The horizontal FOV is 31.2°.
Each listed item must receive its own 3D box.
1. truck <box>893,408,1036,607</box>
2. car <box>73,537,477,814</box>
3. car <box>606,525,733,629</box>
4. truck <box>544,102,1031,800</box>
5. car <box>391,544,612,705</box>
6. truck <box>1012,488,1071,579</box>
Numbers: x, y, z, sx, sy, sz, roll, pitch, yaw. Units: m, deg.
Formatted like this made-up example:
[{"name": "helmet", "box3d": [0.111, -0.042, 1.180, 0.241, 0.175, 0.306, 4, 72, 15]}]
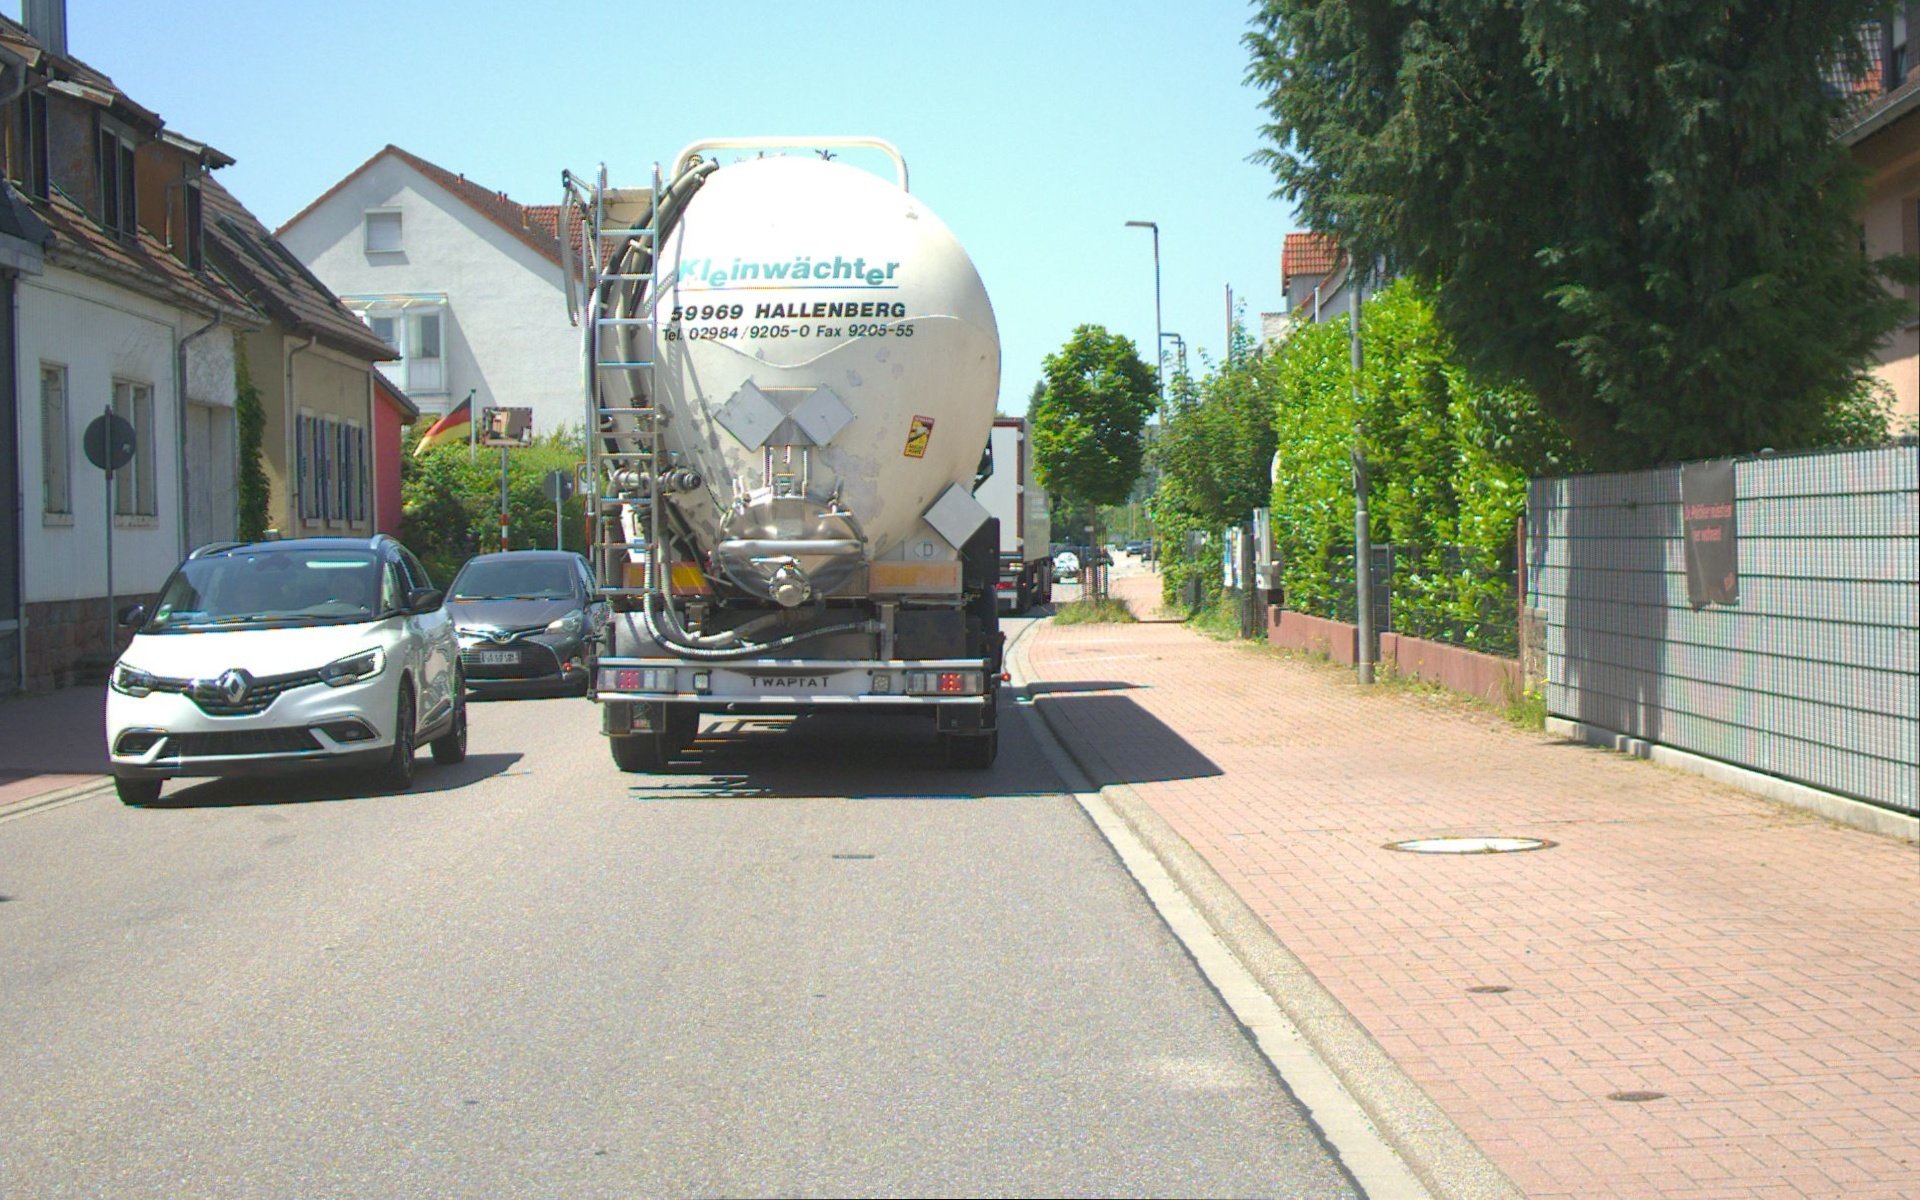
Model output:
[{"name": "truck", "box3d": [0.170, -1.887, 72.663, 2.733, 3.946, 8.141, 1, 1, 2]}, {"name": "car", "box3d": [-4.420, 0.420, 22.823, 1.851, 1.566, 4.255, -3, 1, -2]}, {"name": "car", "box3d": [-4.601, -0.378, 54.861, 1.742, 1.501, 4.059, -3, 1, -2]}, {"name": "truck", "box3d": [-1.106, -0.885, 23.666, 2.732, 3.946, 8.142, 1, 1, -2]}, {"name": "car", "box3d": [-4.786, 0.214, 36.422, 1.851, 1.501, 4.105, -3, 1, -2]}, {"name": "truck", "box3d": [2.962, -2.402, 123.767, 1.993, 3.126, 9.448, 1, 1, 2]}]
